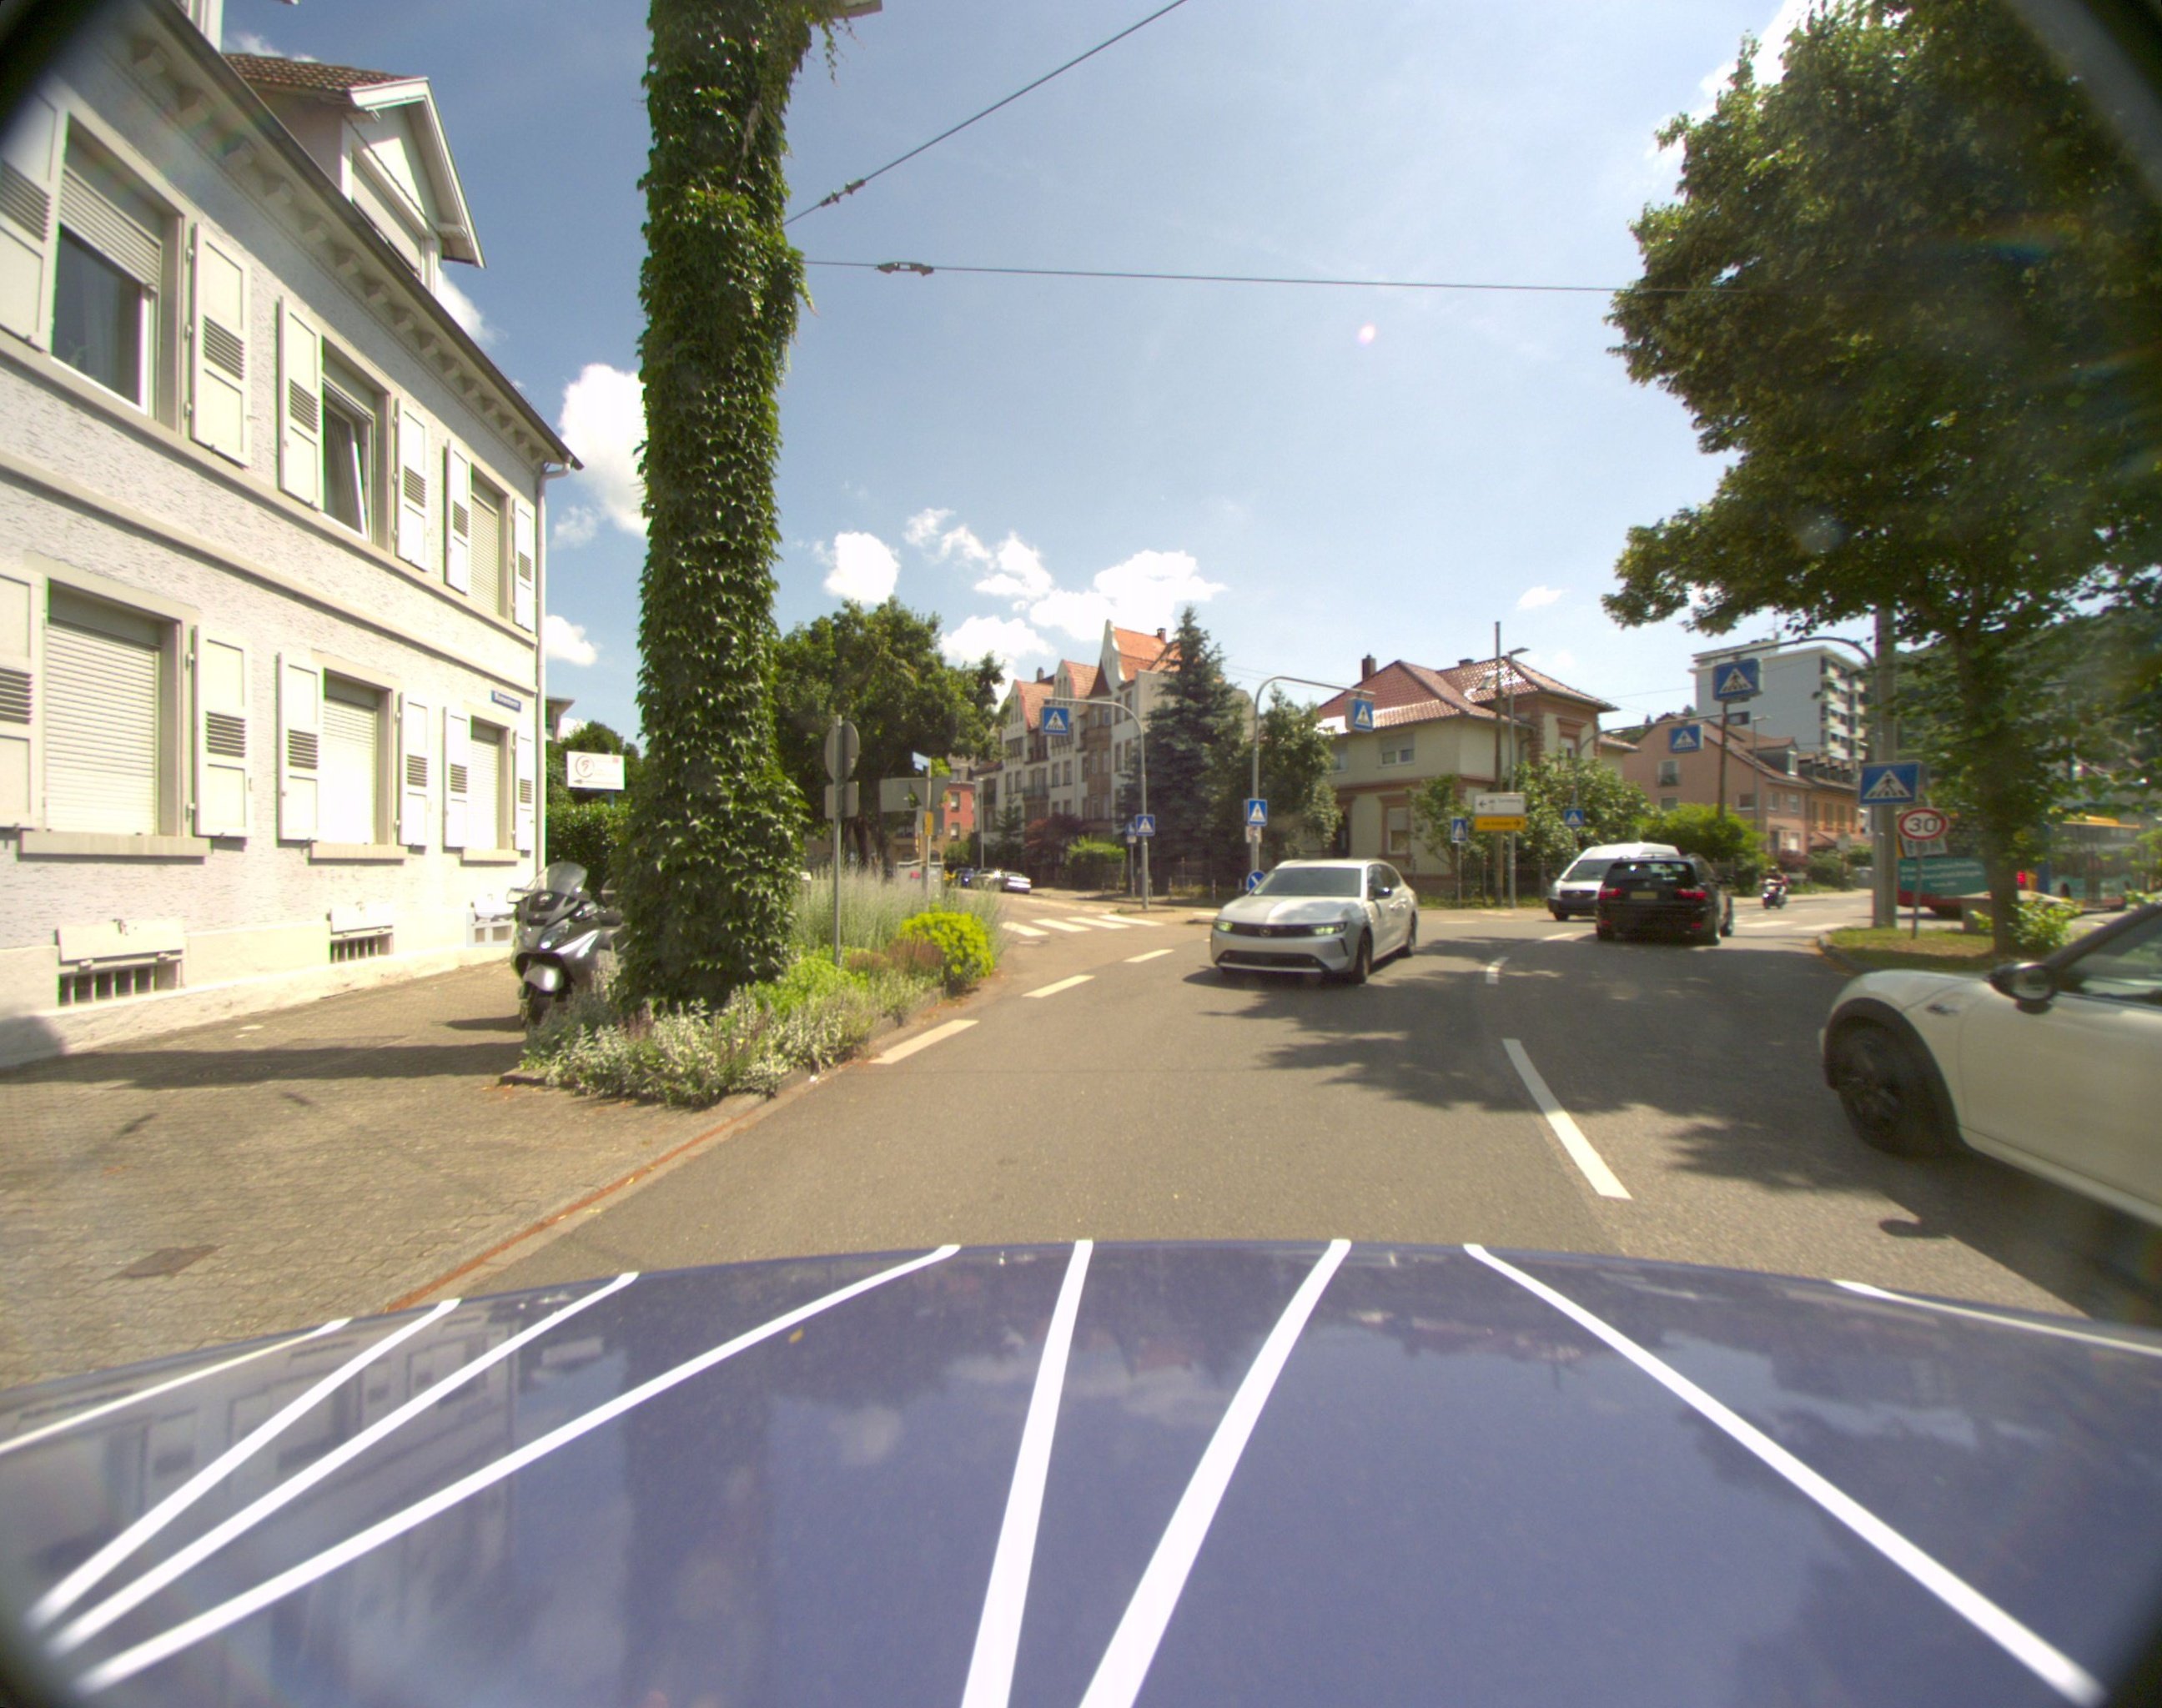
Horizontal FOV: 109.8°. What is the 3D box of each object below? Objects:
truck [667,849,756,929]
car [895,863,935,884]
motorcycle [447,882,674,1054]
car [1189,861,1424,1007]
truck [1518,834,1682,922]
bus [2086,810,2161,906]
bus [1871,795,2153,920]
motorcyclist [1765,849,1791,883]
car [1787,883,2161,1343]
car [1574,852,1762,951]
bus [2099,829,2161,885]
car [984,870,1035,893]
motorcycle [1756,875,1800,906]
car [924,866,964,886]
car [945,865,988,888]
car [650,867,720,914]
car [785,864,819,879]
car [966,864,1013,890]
[{"bbox_3d":[-10.139,0.903,20.942,1.919,1.914,5.270,1,-1,-25],"label":"truck"},{"bbox_3d":[-14.256,1.671,65.024,1.779,1.604,3.864,6,-3,-37],"label":"car"},{"bbox_3d":[-4.980,0.997,7.533,0.802,1.344,2.337,0,0,-5],"label":"motorcycle"},{"bbox_3d":[3.209,0.866,10.167,1.797,1.457,4.179,-1,0,34],"label":"car"},{"bbox_3d":[14.876,0.668,21.682,5.418,2.235,2.016,1,-2,-35],"label":"truck"},{"bbox_3d":[45.262,0.191,32.064,12.230,3.586,2.690,0,0,-34],"label":"bus"},{"bbox_3d":[28.900,0.146,23.441,10.872,3.277,2.703,0,-1,-24],"label":"bus"},{"bbox_3d":[25.462,0.447,27.762,0.556,1.236,0.540,0,0,-24],"label":"motorcyclist"},{"bbox_3d":[4.489,0.915,2.343,1.776,1.456,3.751,0,1,14],"label":"car"},{"bbox_3d":[11.411,0.819,14.676,4.337,1.622,1.857,1,0,-38],"label":"car"},{"bbox_3d":[64.217,0.187,46.223,10.175,3.170,2.569,0,0,-36],"label":"bus"},{"bbox_3d":[-4.368,1.649,45.931,1.821,1.318,3.992,2,-1,-25],"label":"car"},{"bbox_3d":[25.477,1.323,27.769,1.438,1.051,0.668,0,0,-23],"label":"motorcycle"},{"bbox_3d":[-10.856,1.719,60.204,1.778,1.379,3.990,6,-3,-29],"label":"car"},{"bbox_3d":[-8.351,1.614,55.190,1.778,1.506,3.991,6,-3,-27],"label":"car"},{"bbox_3d":[-13.879,1.220,26.534,1.718,1.516,3.844,1,-1,-34],"label":"car"},{"bbox_3d":[-31.201,1.931,84.845,2.004,1.608,4.173,-1,0,-45],"label":"car"},{"bbox_3d":[-6.123,1.503,50.562,1.778,1.506,3.992,6,-3,-25],"label":"car"}]
